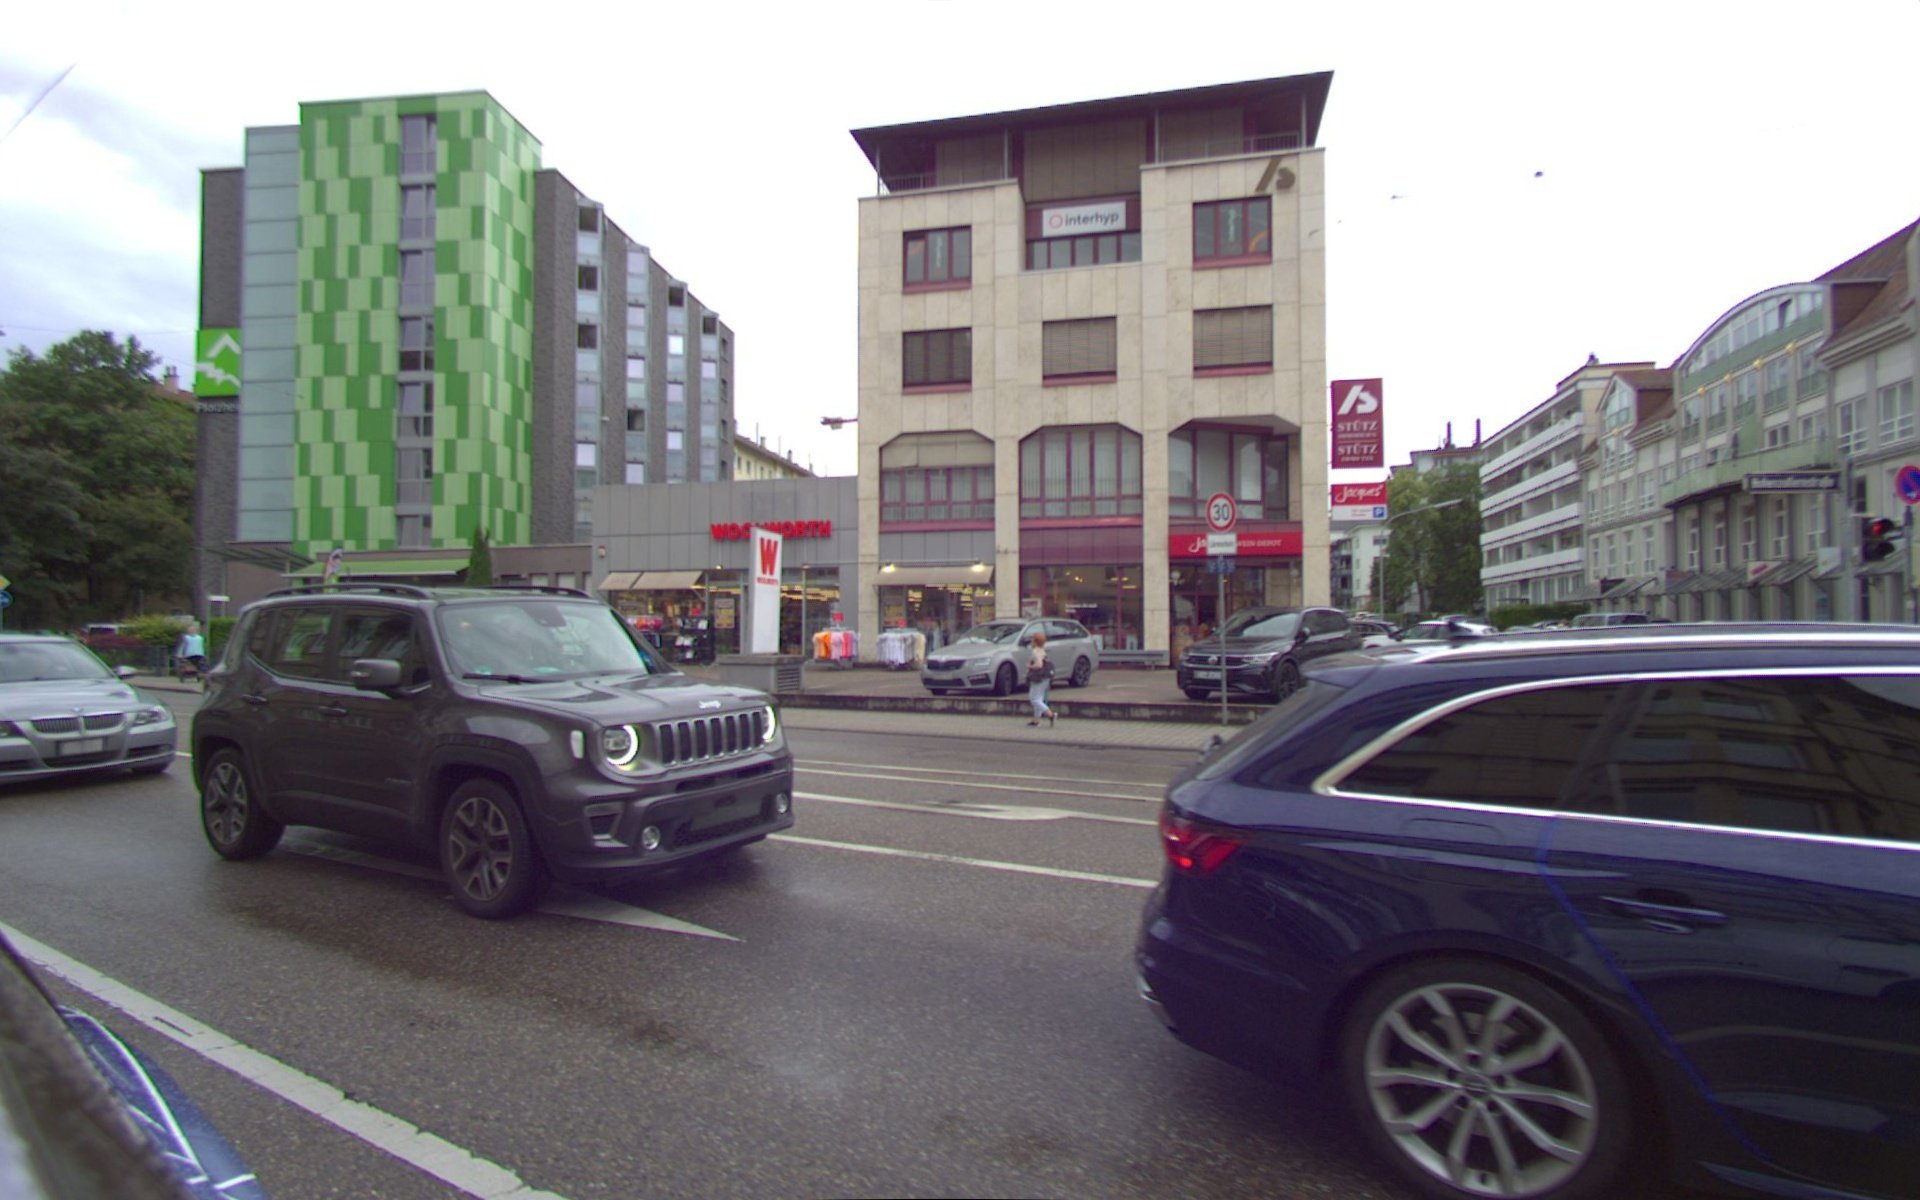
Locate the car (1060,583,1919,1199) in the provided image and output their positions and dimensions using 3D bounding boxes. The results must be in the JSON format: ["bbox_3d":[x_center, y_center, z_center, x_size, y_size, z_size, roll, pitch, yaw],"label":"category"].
[{"bbox_3d":[2.735,0.682,2.437,4.665,1.416,1.790,-1,-1,30],"label":"car"}]

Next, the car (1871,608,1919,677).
[{"bbox_3d":[26.299,1.104,26.336,1.979,1.829,3.986,-1,-2,11],"label":"car"}]

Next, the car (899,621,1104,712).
[{"bbox_3d":[0.931,1.217,19.919,1.883,1.538,4.405,-2,-2,37],"label":"car"}]

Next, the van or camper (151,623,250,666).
[{"bbox_3d":[-44.642,2.565,59.650,2.183,2.283,4.613,-2,0,3],"label":"van or camper"}]

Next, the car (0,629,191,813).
[{"bbox_3d":[-9.531,1.045,9.822,4.354,1.475,1.786,-1,-1,31],"label":"car"}]

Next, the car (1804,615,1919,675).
[{"bbox_3d":[28.188,1.343,30.284,3.955,1.743,1.994,-1,-2,10],"label":"car"}]

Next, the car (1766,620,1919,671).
[{"bbox_3d":[28.783,1.462,32.553,3.956,1.603,1.868,-1,-2,11],"label":"car"}]

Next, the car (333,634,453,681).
[{"bbox_3d":[-18.764,1.863,33.424,4.649,1.450,1.973,-2,-3,41],"label":"car"}]

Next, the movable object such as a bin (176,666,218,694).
[{"bbox_3d":[-22.700,2.380,30.130,0.742,0.795,0.735,1,-2,-12],"label":"movable object such as a bin"}]

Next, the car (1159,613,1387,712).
[{"bbox_3d":[5.581,1.040,17.752,4.366,1.517,1.955,2,-3,-44],"label":"car"}]

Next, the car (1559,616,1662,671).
[{"bbox_3d":[25.446,1.694,39.765,1.979,2.029,3.986,-1,-2,11],"label":"car"}]

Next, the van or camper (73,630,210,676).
[{"bbox_3d":[-39.221,2.501,48.665,1.981,2.029,4.945,-2,-2,14],"label":"van or camper"}]

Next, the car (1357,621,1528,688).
[{"bbox_3d":[12.648,1.370,26.682,1.558,1.511,3.765,2,0,-42],"label":"car"}]

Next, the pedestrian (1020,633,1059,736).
[{"bbox_3d":[1.251,1.301,15.820,0.503,1.541,0.760,0,0,12],"label":"pedestrian"}]

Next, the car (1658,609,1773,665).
[{"bbox_3d":[28.980,1.427,39.002,1.980,2.029,3.984,-1,-2,12],"label":"car"}]

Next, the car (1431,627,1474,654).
[{"bbox_3d":[37.982,3.111,78.144,1.979,2.029,3.985,-1,-2,12],"label":"car"}]

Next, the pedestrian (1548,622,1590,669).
[{"bbox_3d":[24.483,1.813,40.683,1.186,1.842,1.052,-3,-3,42],"label":"pedestrian"}]

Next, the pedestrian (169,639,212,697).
[{"bbox_3d":[-23.222,2.040,30.539,0.742,1.698,0.749,0,-3,-12],"label":"pedestrian"}]

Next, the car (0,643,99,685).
[{"bbox_3d":[-39.626,2.743,43.576,1.723,1.581,3.575,-2,0,12],"label":"car"}]

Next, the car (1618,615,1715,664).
[{"bbox_3d":[30.898,1.744,44.430,1.979,2.029,3.985,-1,-2,12],"label":"car"}]

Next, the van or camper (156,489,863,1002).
[{"bbox_3d":[-2.799,0.676,6.125,4.126,2.163,1.842,-2,-2,30],"label":"van or camper"}]
